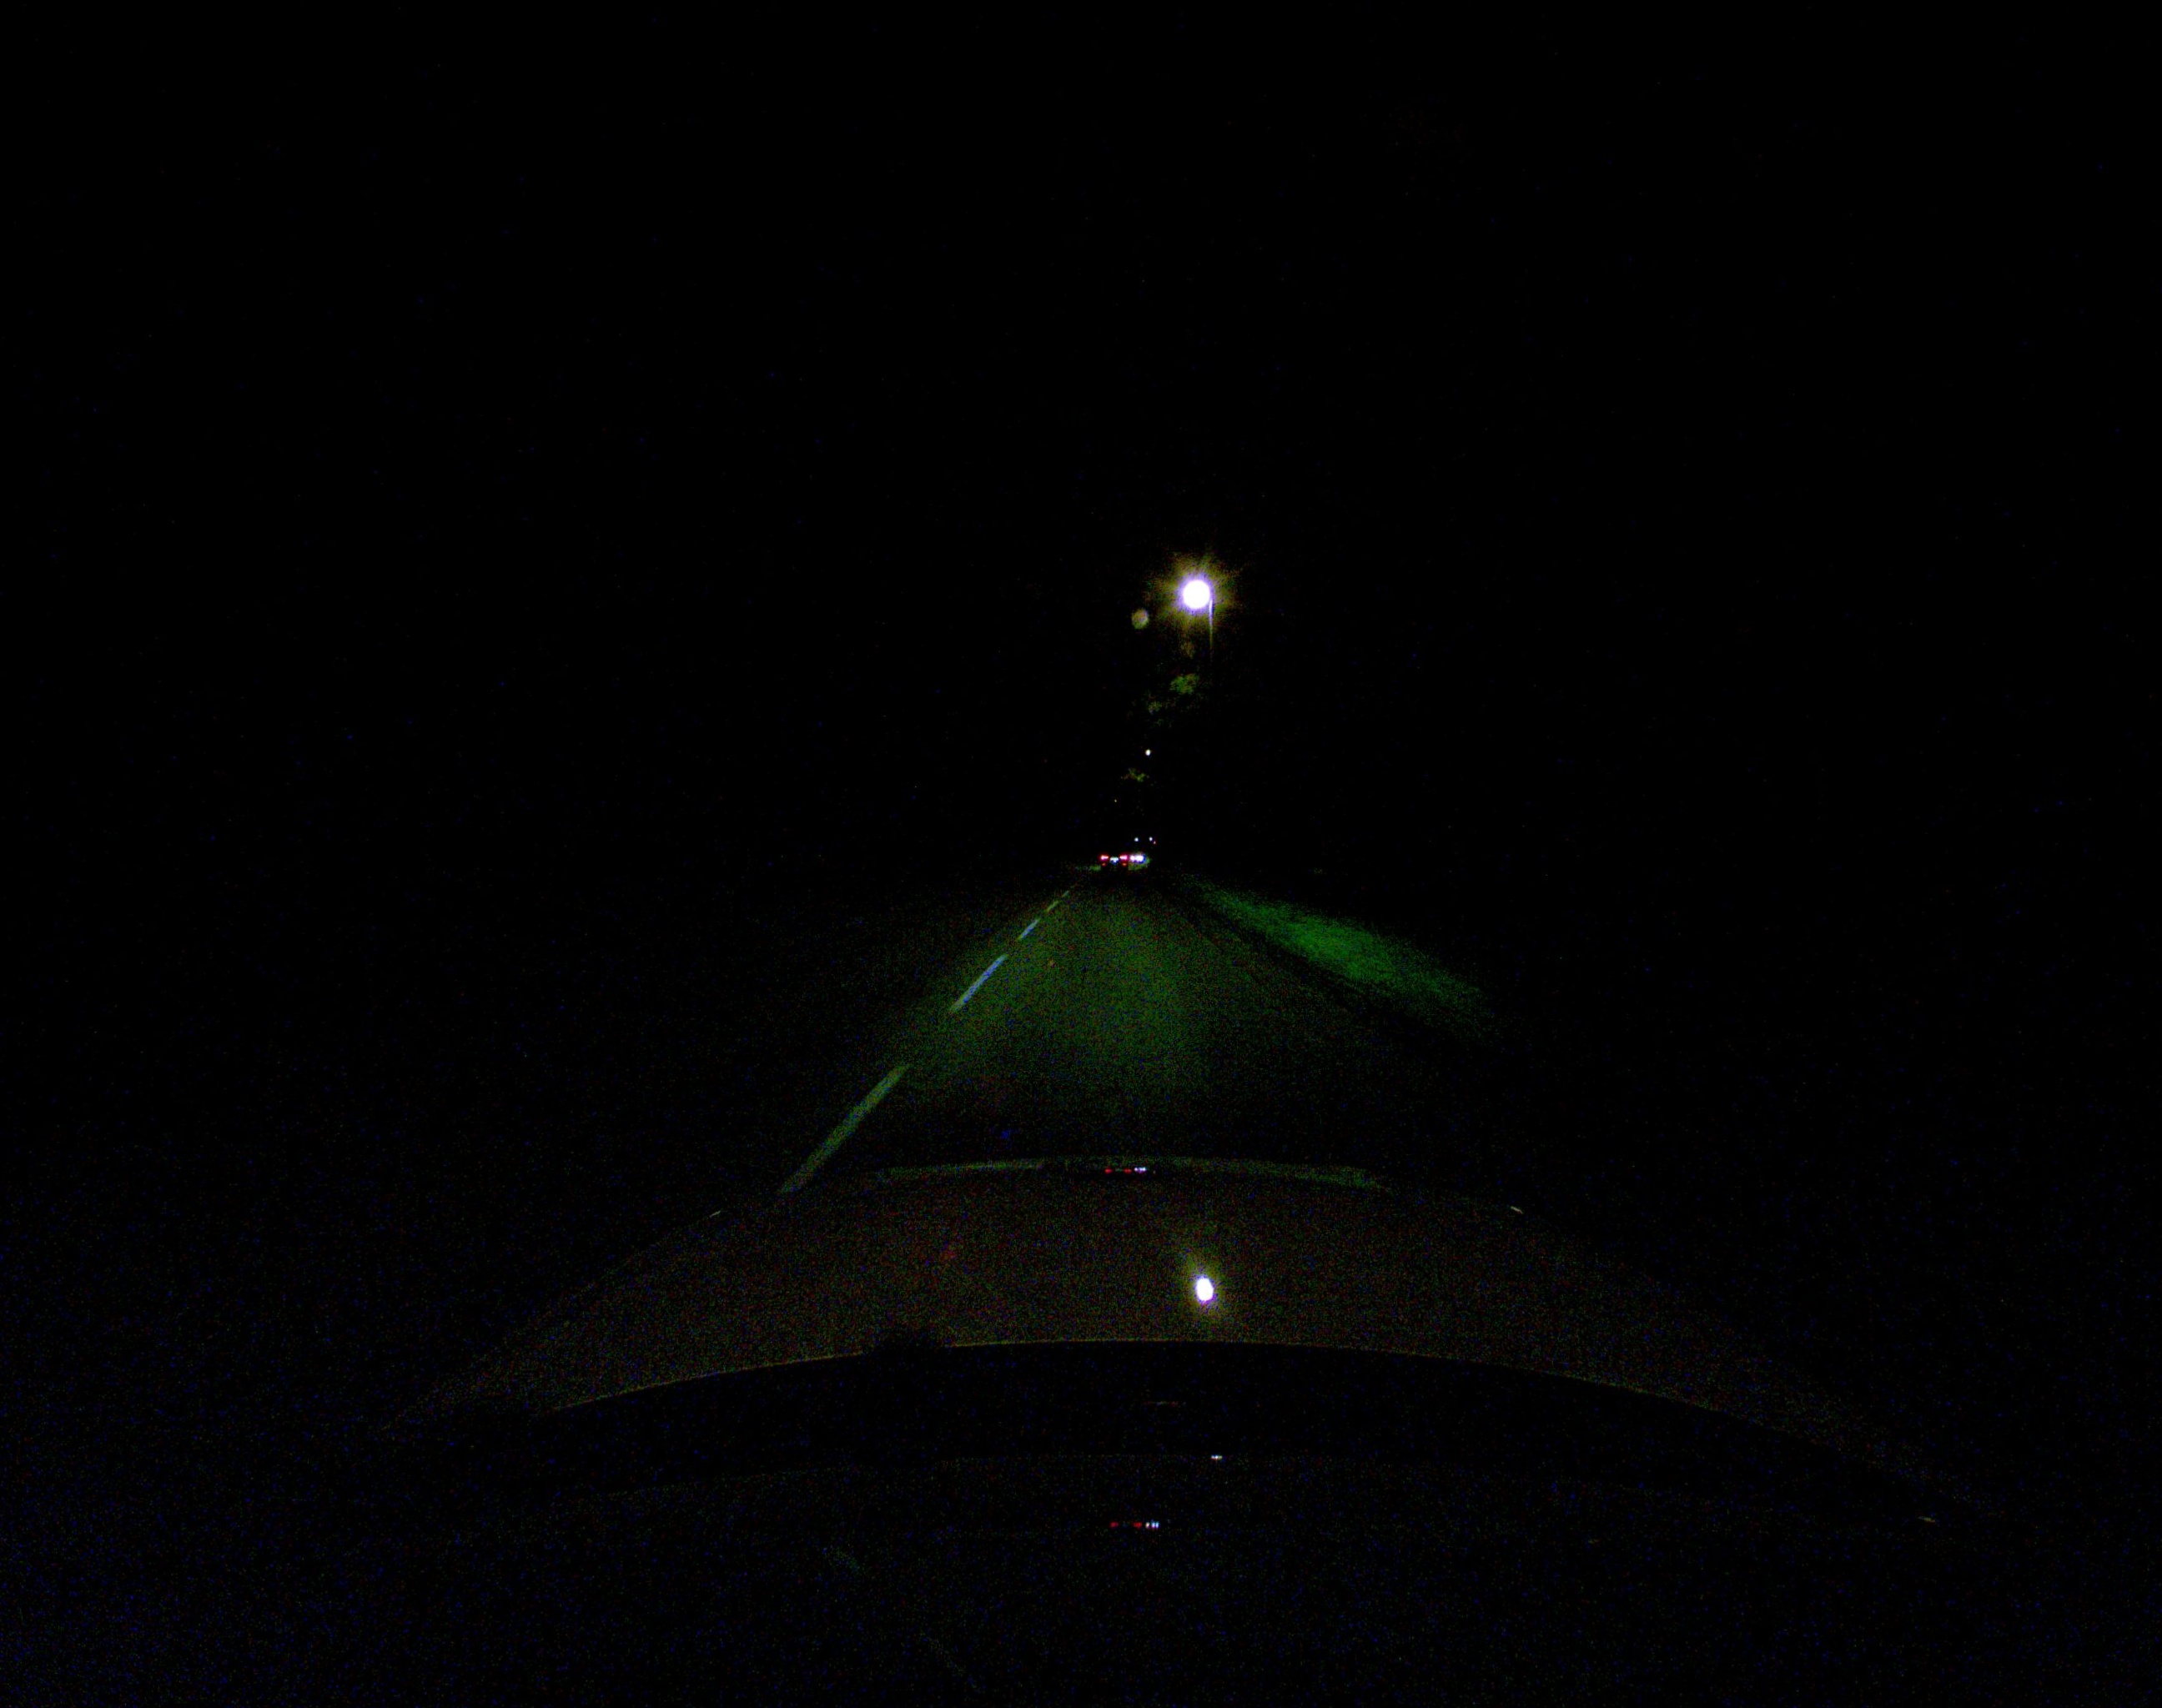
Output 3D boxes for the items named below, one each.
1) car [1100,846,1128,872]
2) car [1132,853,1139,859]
[{"bbox_3d":[2.165,0.289,53.277,1.756,1.641,3.724,0,0,2],"label":"car"},{"bbox_3d":[13.627,0.539,204.955,1.680,1.457,4.004,0,0,4],"label":"car"}]
